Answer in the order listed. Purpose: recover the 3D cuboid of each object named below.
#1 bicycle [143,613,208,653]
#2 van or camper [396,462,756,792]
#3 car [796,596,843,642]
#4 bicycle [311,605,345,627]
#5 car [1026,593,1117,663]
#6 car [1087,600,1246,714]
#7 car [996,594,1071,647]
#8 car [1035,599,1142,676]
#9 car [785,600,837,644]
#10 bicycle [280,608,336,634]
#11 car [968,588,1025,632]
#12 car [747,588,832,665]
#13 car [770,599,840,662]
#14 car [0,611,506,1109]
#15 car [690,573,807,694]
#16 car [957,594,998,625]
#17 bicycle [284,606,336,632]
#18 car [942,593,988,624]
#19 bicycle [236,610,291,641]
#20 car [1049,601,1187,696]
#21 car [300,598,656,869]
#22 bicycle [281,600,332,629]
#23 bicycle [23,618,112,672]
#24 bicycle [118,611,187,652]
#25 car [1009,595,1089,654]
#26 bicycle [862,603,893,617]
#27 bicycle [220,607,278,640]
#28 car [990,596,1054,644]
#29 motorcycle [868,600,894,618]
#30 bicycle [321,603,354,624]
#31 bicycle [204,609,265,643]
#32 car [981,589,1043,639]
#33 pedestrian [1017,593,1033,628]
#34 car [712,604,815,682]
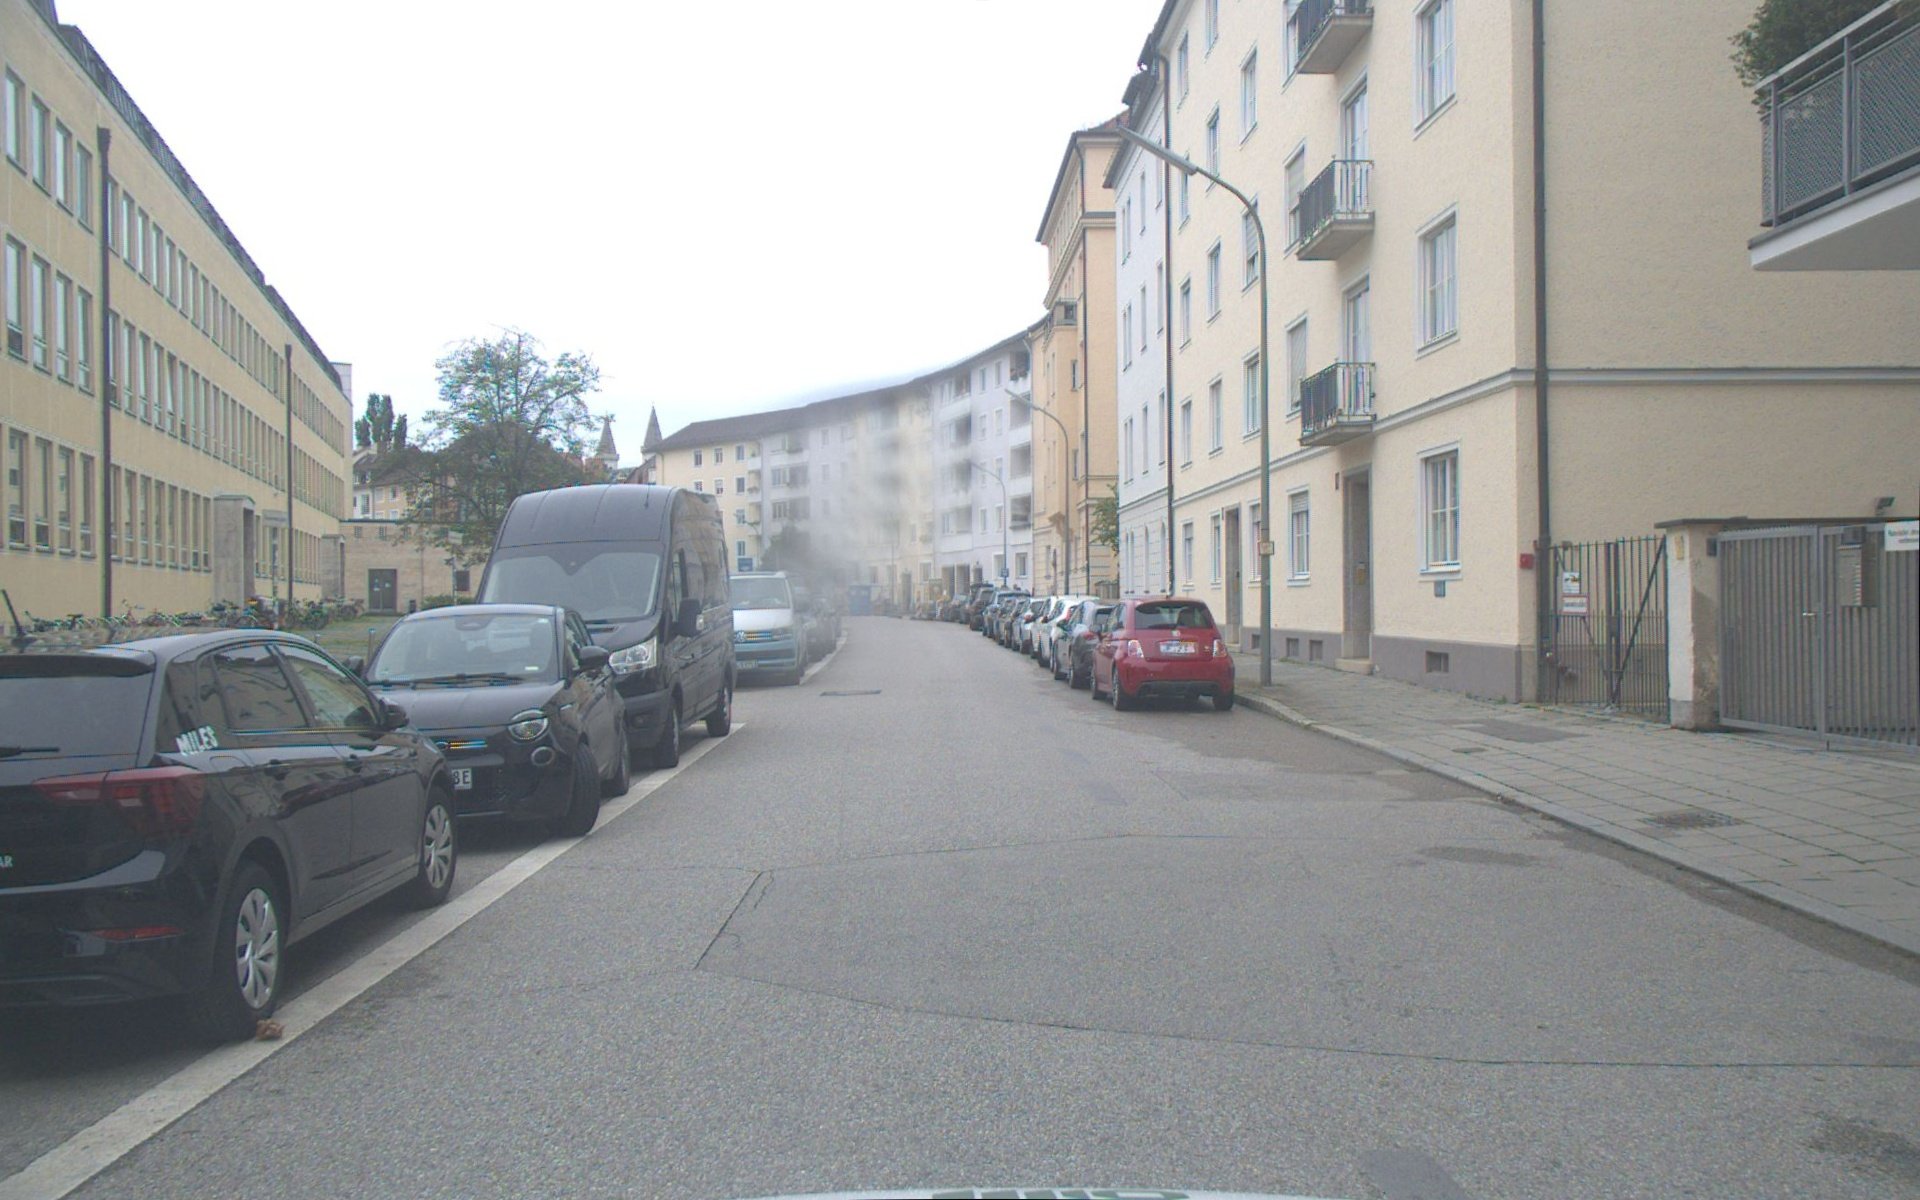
[{"bbox_3d":[-19.210,0.811,40.511,1.383,0.961,0.413,1,0,-15],"label":"bicycle"},{"bbox_3d":[-3.606,0.216,16.838,2.246,2.697,5.561,-3,0,0],"label":"van or camper"},{"bbox_3d":[-5.183,0.674,61.445,1.599,1.520,4.272,-3,0,-4],"label":"car"},{"bbox_3d":[-28.121,0.709,73.580,1.385,0.961,0.412,1,0,-19],"label":"bicycle"},{"bbox_3d":[2.584,0.619,39.106,1.618,1.570,3.990,0,0,-4],"label":"car"},{"bbox_3d":[2.837,0.742,23.462,1.621,1.454,3.754,0,0,-3],"label":"car"},{"bbox_3d":[2.127,0.578,49.034,1.838,1.475,4.675,0,0,-2],"label":"car"},{"bbox_3d":[2.574,0.719,34.007,1.690,1.454,4.291,0,0,-3],"label":"car"},{"bbox_3d":[-5.064,0.724,56.708,1.707,1.447,4.290,0,0,-4],"label":"car"},{"bbox_3d":[-24.722,0.783,62.714,1.919,0.961,0.413,1,0,-15],"label":"bicycle"},{"bbox_3d":[1.488,0.368,69.300,2.126,1.769,5.022,0,0,-2],"label":"car"},{"bbox_3d":[-4.081,0.592,40.114,1.680,1.719,4.139,-2,0,-2],"label":"car"},{"bbox_3d":[-4.184,0.797,45.149,1.598,1.520,3.818,-3,0,-2],"label":"car"},{"bbox_3d":[-3.284,0.837,7.211,1.642,1.461,4.283,-3,0,-4],"label":"car"},{"bbox_3d":[-3.715,0.531,29.792,1.877,1.994,4.956,0,0,-5],"label":"car"},{"bbox_3d":[0.821,0.457,79.489,1.599,1.442,3.676,0,0,-5],"label":"car"},{"bbox_3d":[-24.882,0.731,63.355,1.831,0.961,0.412,1,0,-21],"label":"bicycle"},{"bbox_3d":[0.219,0.420,85.735,1.871,1.503,4.940,0,0,-6],"label":"car"},{"bbox_3d":[-22.144,0.801,52.575,1.584,0.961,0.499,1,0,-26],"label":"bicycle"},{"bbox_3d":[2.625,0.766,28.434,1.737,1.454,4.613,0,0,-2],"label":"car"},{"bbox_3d":[-3.223,0.788,11.814,1.620,1.523,3.905,-3,0,-5],"label":"car"},{"bbox_3d":[-26.052,0.582,65.976,1.817,1.115,0.699,1,0,-19],"label":"bicycle"},{"bbox_3d":[-16.072,0.809,29.799,1.392,0.961,0.410,1,0,-31],"label":"bicycle"},{"bbox_3d":[-19.078,0.743,39.084,1.379,0.961,0.414,1,0,-5],"label":"bicycle"},{"bbox_3d":[2.337,0.622,44.254,1.690,1.475,4.185,0,0,-3],"label":"car"},{"bbox_3d":[-6.293,0.755,125.888,2.205,1.088,0.912,0,0,-26],"label":"bicycle"},{"bbox_3d":[-21.589,0.716,50.267,1.580,0.961,0.500,1,0,-21],"label":"bicycle"},{"bbox_3d":[1.994,0.635,54.188,1.791,1.475,4.082,0,0,-2],"label":"car"},{"bbox_3d":[-5.639,0.646,117.891,0.920,1.242,2.486,0,0,-26],"label":"motorcycle"},{"bbox_3d":[-29.717,0.646,78.970,1.448,0.961,0.412,1,0,-19],"label":"bicycle"},{"bbox_3d":[-21.069,0.763,48.065,1.580,0.961,0.500,1,0,-21],"label":"bicycle"},{"bbox_3d":[1.814,0.456,59.045,1.810,1.692,4.495,0,0,-3],"label":"car"},{"bbox_3d":[3.299,0.535,84.088,0.605,1.719,0.919,-4,0,-2],"label":"pedestrian"},{"bbox_3d":[-4.073,0.859,34.768,1.768,1.431,3.708,-3,0,-2],"label":"car"}]
